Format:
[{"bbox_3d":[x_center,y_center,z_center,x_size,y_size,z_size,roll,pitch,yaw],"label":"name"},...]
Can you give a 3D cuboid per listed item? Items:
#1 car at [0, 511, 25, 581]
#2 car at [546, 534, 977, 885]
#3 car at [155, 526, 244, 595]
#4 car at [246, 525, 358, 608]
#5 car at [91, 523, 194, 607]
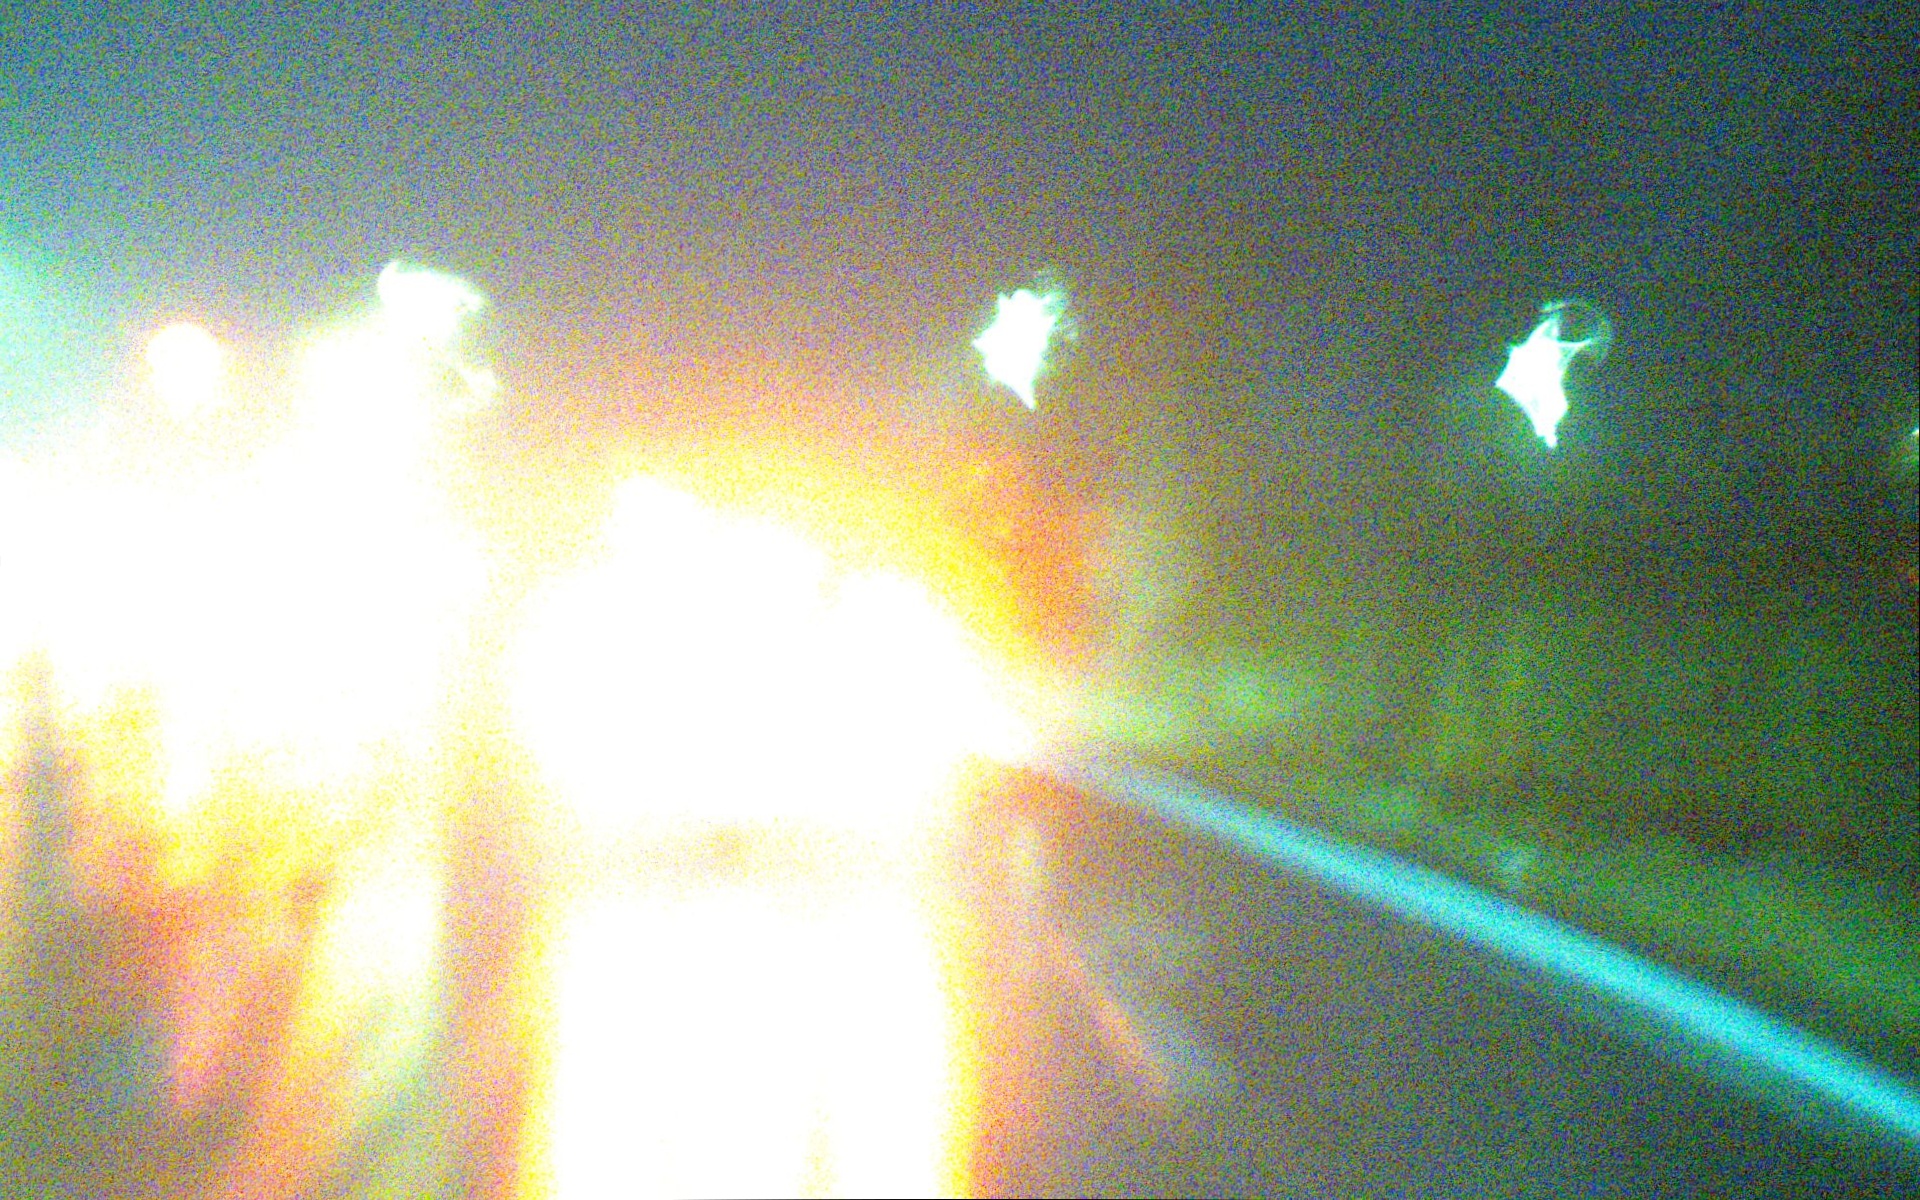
[{"bbox_3d":[-23.912,-1.314,83.918,1.993,1.622,4.986,-2,2,-14],"label":"car"},{"bbox_3d":[-1.095,0.515,18.547,1.993,1.622,4.985,1,0,-4],"label":"car"},{"bbox_3d":[-19.626,-1.049,88.602,1.993,1.622,4.986,-2,2,-14],"label":"car"},{"bbox_3d":[-14.143,-0.751,73.747,1.993,1.622,4.986,-2,2,-14],"label":"car"},{"bbox_3d":[-17.559,-0.781,73.702,1.993,1.622,4.986,-2,2,-14],"label":"car"}]
